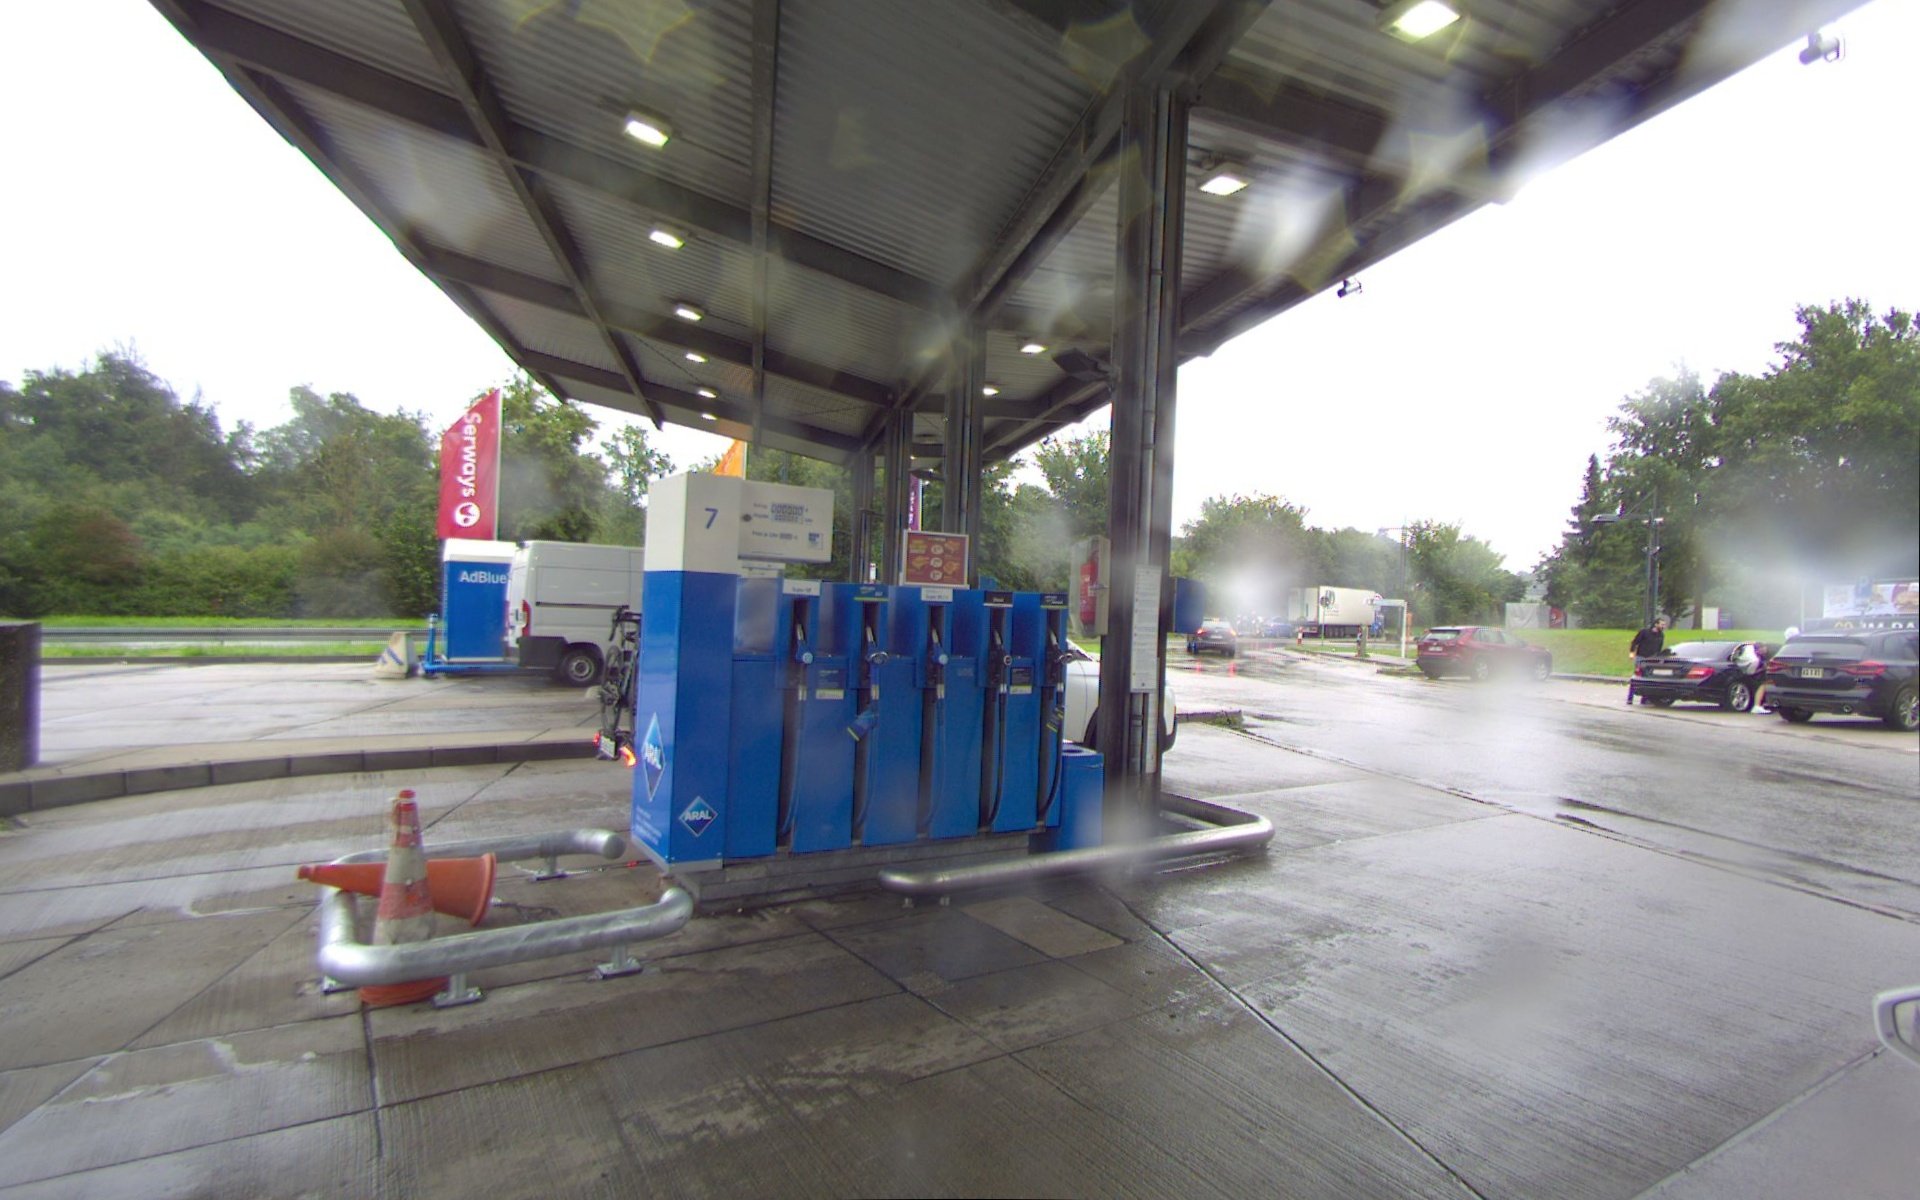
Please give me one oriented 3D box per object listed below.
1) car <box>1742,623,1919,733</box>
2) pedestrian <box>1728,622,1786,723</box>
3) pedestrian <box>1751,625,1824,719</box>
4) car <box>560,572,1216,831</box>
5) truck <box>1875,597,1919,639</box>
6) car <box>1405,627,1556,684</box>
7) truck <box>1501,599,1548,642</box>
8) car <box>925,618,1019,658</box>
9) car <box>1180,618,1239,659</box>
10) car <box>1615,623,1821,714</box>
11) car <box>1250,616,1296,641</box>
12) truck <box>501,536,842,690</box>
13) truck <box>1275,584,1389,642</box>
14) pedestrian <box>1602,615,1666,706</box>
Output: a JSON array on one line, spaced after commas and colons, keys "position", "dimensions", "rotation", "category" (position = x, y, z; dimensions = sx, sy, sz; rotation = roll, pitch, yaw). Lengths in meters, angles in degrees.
[{"position": [16.161, 1.273, 17.453], "dimensions": [4.274, 1.734, 2.016], "rotation": [1, -1, -18], "category": "car"}, {"position": [15.789, 1.414, 19.896], "dimensions": [0.946, 1.912, 0.695], "rotation": [2, 0, -41], "category": "pedestrian"}, {"position": [15.364, 1.315, 18.680], "dimensions": [0.938, 1.653, 0.702], "rotation": [2, 0, 34], "category": "pedestrian"}, {"position": [-0.436, 0.702, 8.443], "dimensions": [5.210, 1.629, 1.852], "rotation": [2, 0, -30], "category": "car"}, {"position": [68.840, 1.326, 71.690], "dimensions": [5.285, 2.959, 2.191], "rotation": [2, 0, -5], "category": "truck"}, {"position": [16.065, 1.671, 30.988], "dimensions": [4.283, 1.666, 1.933], "rotation": [1, -2, -25], "category": "car"}, {"position": [44.418, 1.629, 78.975], "dimensions": [2.444, 3.126, 7.333], "rotation": [2, 0, 35], "category": "truck"}, {"position": [0.564, 1.667, 44.076], "dimensions": [3.969, 1.650, 1.756], "rotation": [3, -1, -41], "category": "car"}, {"position": [11.177, 1.701, 45.214], "dimensions": [1.960, 1.700, 4.002], "rotation": [2, -1, 5], "category": "car"}, {"position": [15.931, 1.359, 21.076], "dimensions": [4.293, 1.734, 2.007], "rotation": [1, -2, -31], "category": "car"}, {"position": [22.888, 2.060, 73.423], "dimensions": [1.787, 1.704, 3.934], "rotation": [2, 0, 40], "category": "car"}, {"position": [-5.349, 0.292, 18.924], "dimensions": [5.793, 2.527, 2.221], "rotation": [2, 0, -30], "category": "truck"}, {"position": [31.863, 1.184, 85.138], "dimensions": [3.498, 4.397, 16.922], "rotation": [2, 0, 40], "category": "truck"}, {"position": [14.512, 1.284, 21.643], "dimensions": [0.691, 1.912, 0.893], "rotation": [2, 0, -5], "category": "pedestrian"}]
